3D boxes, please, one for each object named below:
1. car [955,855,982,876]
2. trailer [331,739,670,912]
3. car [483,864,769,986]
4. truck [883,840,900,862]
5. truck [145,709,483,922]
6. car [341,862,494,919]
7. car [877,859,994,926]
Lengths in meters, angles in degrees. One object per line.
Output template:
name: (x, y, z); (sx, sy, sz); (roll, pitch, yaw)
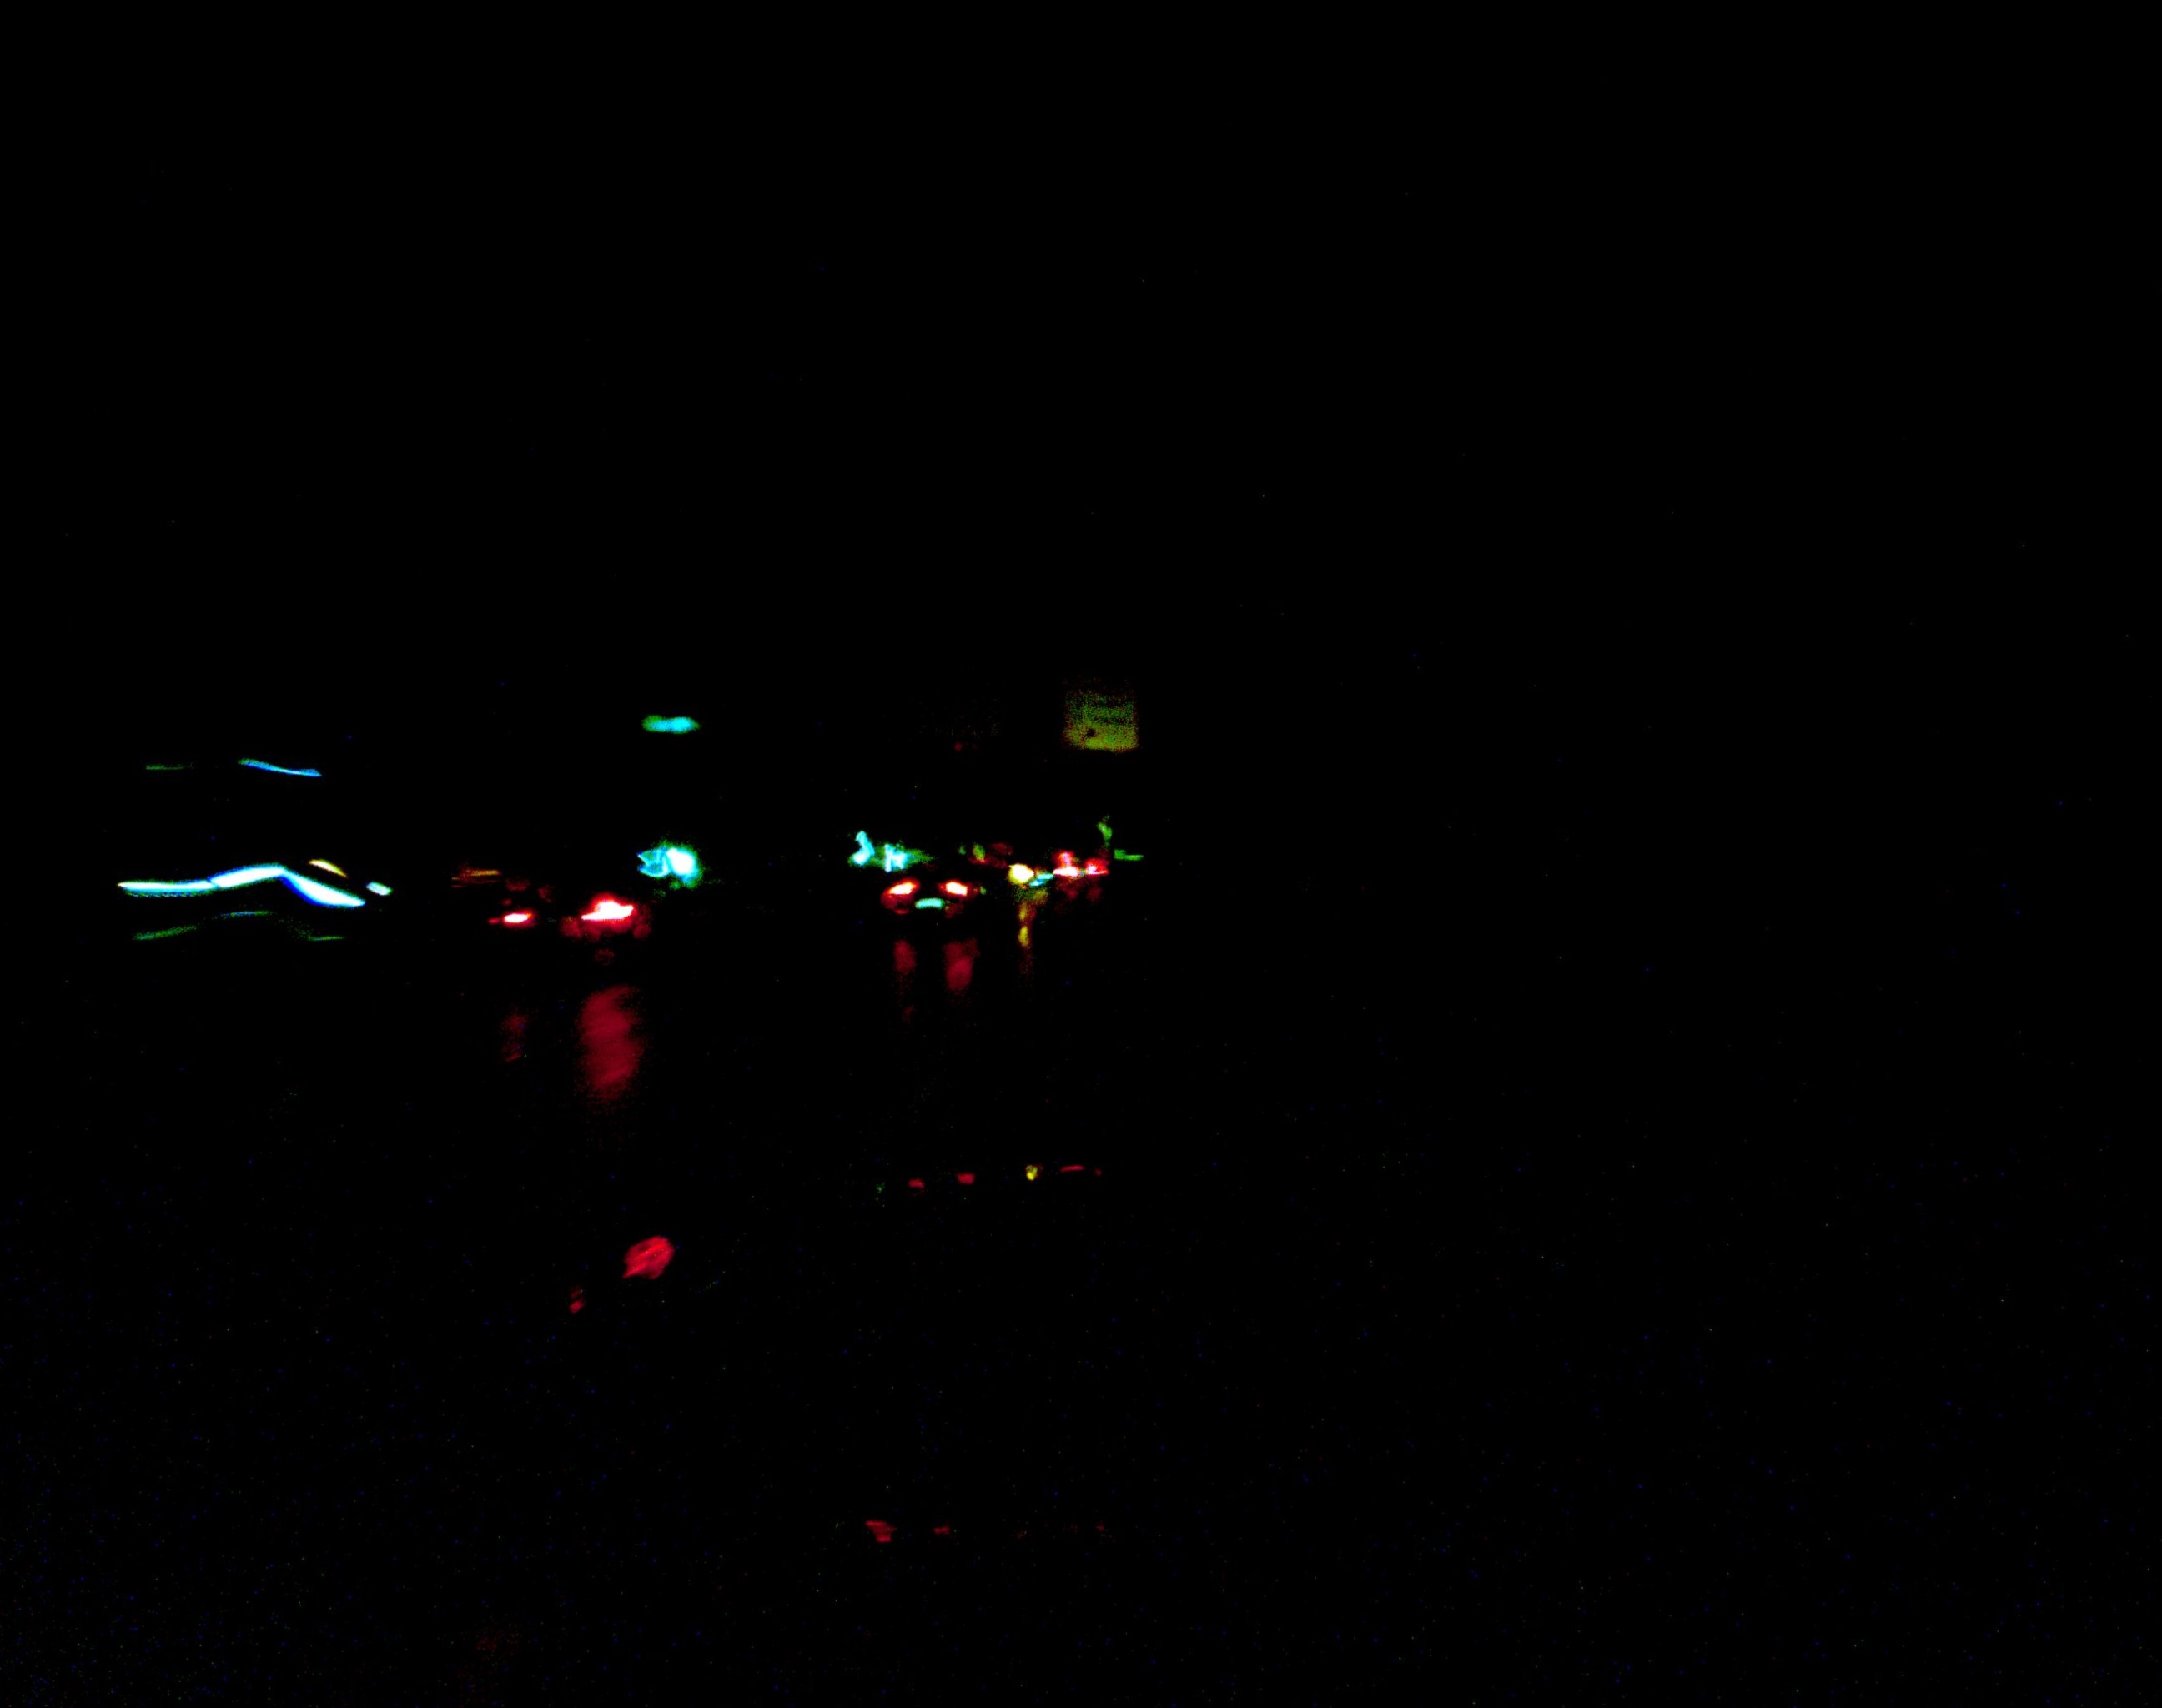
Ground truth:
car: (-8.526, 0.854, 62.000); (1.889, 1.550, 3.992); (0, -1, -5)
trailer: (-18.203, -0.645, 27.403); (2.568, 4.457, 12.484); (1, -1, -1)
car: (-6.692, 0.921, 12.772); (1.762, 1.517, 4.912); (0, 0, -1)
truck: (-30.048, -0.396, 129.195); (2.606, 3.458, 4.621); (0, -1, -12)
truck: (-18.087, -0.758, 19.860); (2.556, 4.404, 5.849); (1, -1, 0)
car: (-21.637, 1.136, 26.796); (1.991, 1.728, 3.991); (0, -1, -6)
car: (-3.261, 0.840, 19.050); (1.956, 1.380, 4.048); (1, -1, 0)
